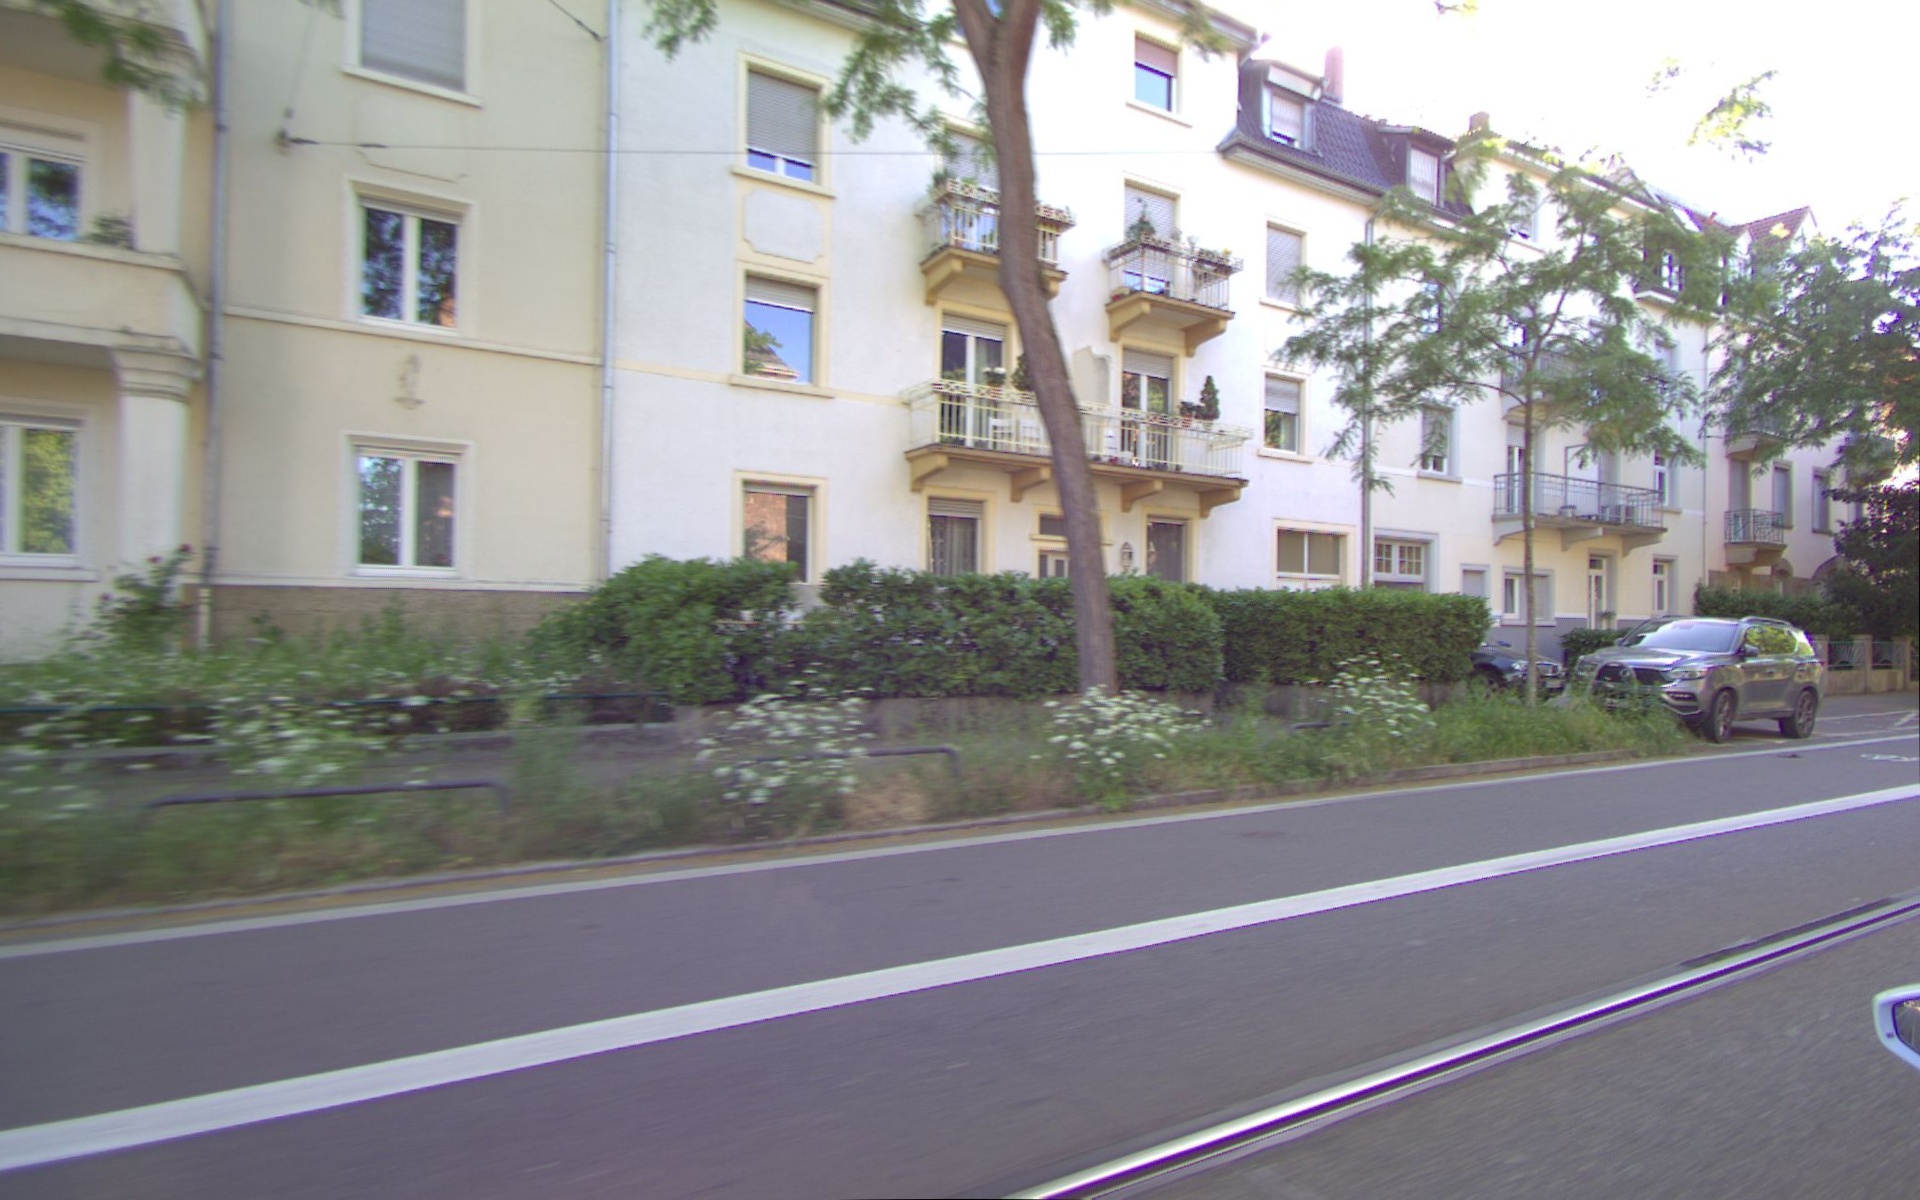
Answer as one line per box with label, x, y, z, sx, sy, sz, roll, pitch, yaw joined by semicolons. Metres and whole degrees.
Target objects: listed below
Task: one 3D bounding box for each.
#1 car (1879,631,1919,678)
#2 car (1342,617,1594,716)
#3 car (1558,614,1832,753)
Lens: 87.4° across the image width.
car;36.249;2.029;36.264;1.961;1.681;4.144;2;0;-31
car;10.290;1.277;20.702;1.929;1.683;4.282;1;0;-28
car;11.520;1.194;15.654;4.719;1.847;1.860;2;0;-33
